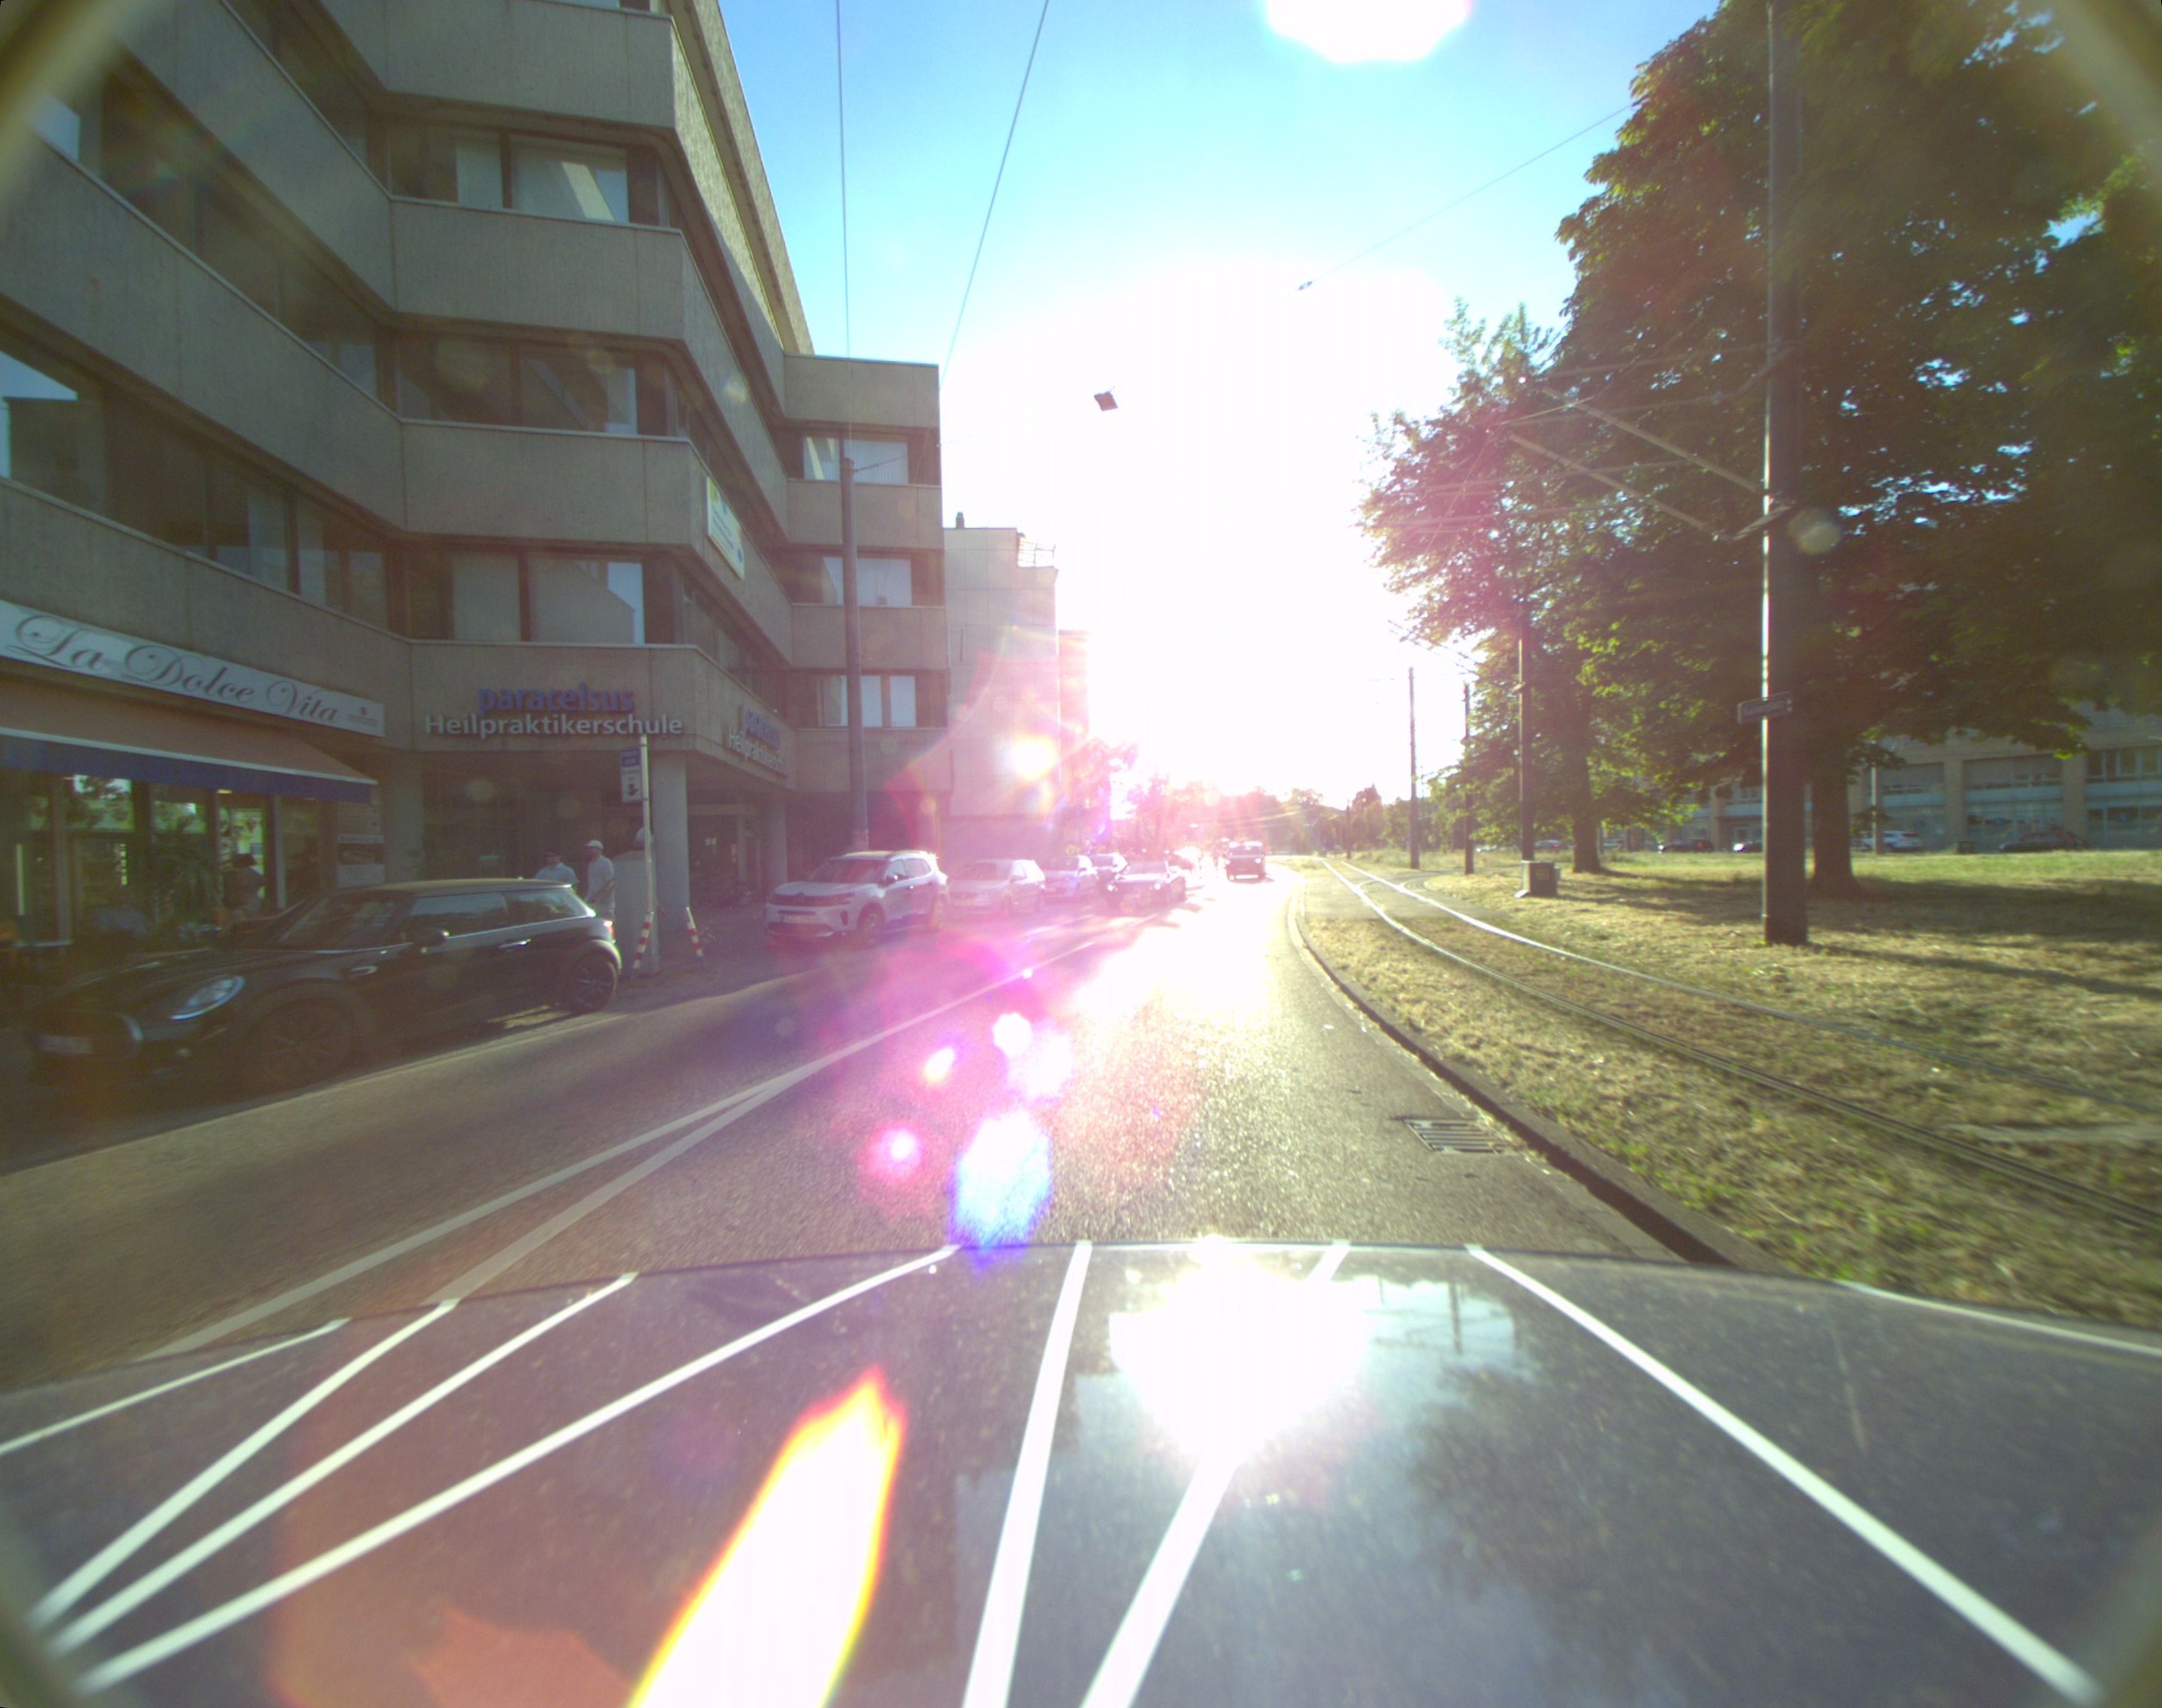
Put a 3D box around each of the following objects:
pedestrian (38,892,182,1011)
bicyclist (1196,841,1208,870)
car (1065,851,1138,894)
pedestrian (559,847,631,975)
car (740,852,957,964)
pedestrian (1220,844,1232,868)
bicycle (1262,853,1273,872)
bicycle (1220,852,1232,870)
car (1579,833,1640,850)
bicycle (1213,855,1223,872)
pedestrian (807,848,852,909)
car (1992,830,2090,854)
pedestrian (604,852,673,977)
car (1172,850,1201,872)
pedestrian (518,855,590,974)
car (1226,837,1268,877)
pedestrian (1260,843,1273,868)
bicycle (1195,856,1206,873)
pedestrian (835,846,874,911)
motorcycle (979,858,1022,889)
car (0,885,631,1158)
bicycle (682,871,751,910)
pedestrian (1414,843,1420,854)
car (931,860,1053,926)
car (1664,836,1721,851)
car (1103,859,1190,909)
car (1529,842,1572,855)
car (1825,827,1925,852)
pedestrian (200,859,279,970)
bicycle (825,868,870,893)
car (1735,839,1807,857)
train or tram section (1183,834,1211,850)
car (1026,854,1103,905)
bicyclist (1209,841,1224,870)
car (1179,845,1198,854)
[{"bbox_3d":[-11.279,1.106,8.857,0.768,1.274,0.661,0,1,-12],"label":"pedestrian"},{"bbox_3d":[7.643,0.112,48.089,0.675,1.797,0.994,-2,1,7],"label":"bicyclist"},{"bbox_3d":[0.894,0.668,30.058,1.784,1.548,4.239,1,1,17],"label":"car"},{"bbox_3d":[-7.304,0.830,11.431,0.623,1.847,0.662,2,2,17],"label":"pedestrian"},{"bbox_3d":[-4.151,0.854,14.461,1.870,1.704,4.509,1,1,14],"label":"car"},{"bbox_3d":[9.960,0.151,52.270,0.639,1.639,0.843,-3,1,6],"label":"pedestrian"},{"bbox_3d":[12.243,0.559,49.954,0.529,1.152,1.850,-3,1,9],"label":"bicycle"},{"bbox_3d":[9.970,0.458,52.243,0.530,1.152,1.849,-3,2,5],"label":"bicycle"},{"bbox_3d":[49.335,-1.131,71.031,1.894,1.472,4.778,-2,0,-7],"label":"car"},{"bbox_3d":[8.613,0.609,47.893,0.479,1.022,1.982,-2,0,7],"label":"bicycle"},{"bbox_3d":[-6.982,0.680,21.096,0.991,1.663,0.642,-1,1,2],"label":"pedestrian"},{"bbox_3d":[60.704,-0.756,48.138,1.555,1.346,3.517,-2,0,-13],"label":"car"},{"bbox_3d":[-6.481,0.860,11.145,0.579,1.750,0.662,2,2,17],"label":"pedestrian"},{"bbox_3d":[7.588,0.462,54.488,1.730,1.464,3.902,1,1,13],"label":"car"},{"bbox_3d":[-8.066,0.896,11.646,0.623,1.730,0.662,2,2,17],"label":"pedestrian"},{"bbox_3d":[8.995,0.146,40.876,1.917,1.978,4.952,-2,0,16],"label":"car"},{"bbox_3d":[12.195,0.101,49.893,0.678,1.639,0.902,-3,1,10],"label":"pedestrian"},{"bbox_3d":[7.579,0.657,48.178,0.576,1.022,1.858,-2,0,7],"label":"bicycle"},{"bbox_3d":[-6.124,0.635,20.616,0.699,1.717,1.032,-1,1,2],"label":"pedestrian"},{"bbox_3d":[-3.477,0.840,33.019,1.786,1.323,0.583,0,1,4],"label":"motorcycle"},{"bbox_3d":[-6.199,1.109,6.678,1.664,1.433,3.827,1,1,13],"label":"car"},{"bbox_3d":[-10.518,1.036,21.978,1.761,1.066,0.483,0,1,-23],"label":"bicycle"},{"bbox_3d":[54.458,-0.864,123.155,0.738,1.663,0.717,-1,0,-5],"label":"pedestrian"},{"bbox_3d":[-2.168,0.915,19.604,1.664,1.433,3.859,1,1,17],"label":"car"},{"bbox_3d":[50.701,-0.880,63.069,1.525,1.147,3.596,-2,0,-9],"label":"car"},{"bbox_3d":[2.082,0.849,22.947,1.774,1.300,4.245,-2,0,16],"label":"car"},{"bbox_3d":[48.416,-0.516,78.473,1.730,1.275,3.786,-2,0,-8],"label":"car"},{"bbox_3d":[52.781,-0.933,50.640,1.777,1.473,4.304,-1,0,-13],"label":"car"},{"bbox_3d":[-13.829,0.974,12.501,0.599,1.749,0.521,-3,0,-7],"label":"pedestrian"},{"bbox_3d":[-10.511,1.195,34.256,1.868,1.068,0.484,0,1,3],"label":"bicycle"},{"bbox_3d":[51.509,-0.449,56.828,1.651,1.274,3.736,-1,0,-10],"label":"car"},{"bbox_3d":[27.210,-2.745,179.324,2.782,3.515,13.241,-2,0,-8],"label":"train or tram section"},{"bbox_3d":[-0.472,0.794,25.568,1.609,1.548,3.614,1,1,15],"label":"car"},{"bbox_3d":[8.553,0.069,48.009,0.828,1.797,1.058,-2,1,7],"label":"bicyclist"},{"bbox_3d":[18.216,-0.714,128.685,1.844,1.392,4.580,-4,0,-10],"label":"car"}]
